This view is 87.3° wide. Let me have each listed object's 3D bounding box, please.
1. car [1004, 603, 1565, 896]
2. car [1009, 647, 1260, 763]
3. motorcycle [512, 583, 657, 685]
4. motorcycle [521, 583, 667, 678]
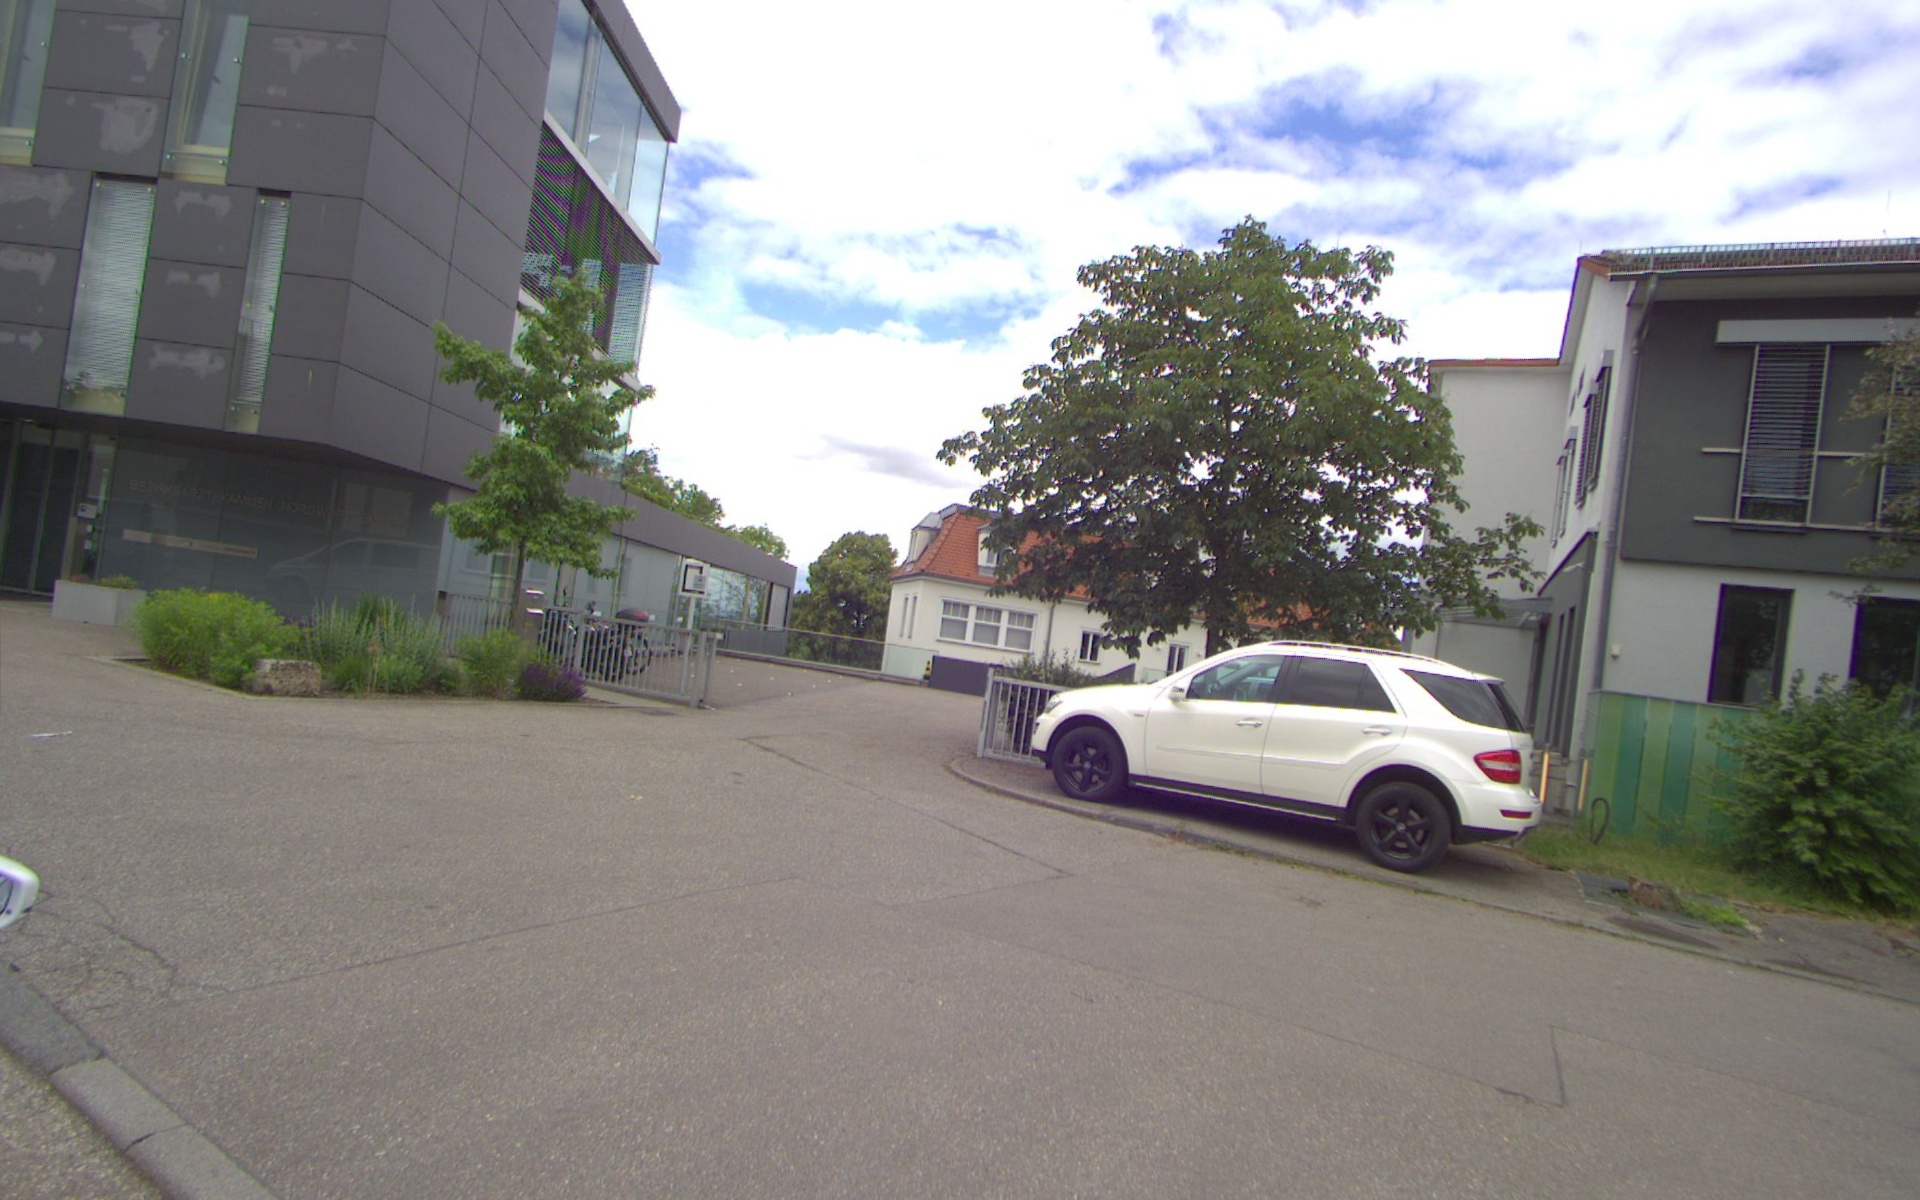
[{"bbox_3d":[2.983,1.233,9.648,4.643,1.778,1.856,7,-2,31],"label":"car"},{"bbox_3d":[3.176,1.867,18.429,4.142,1.501,1.621,5,-2,25],"label":"car"},{"bbox_3d":[-6.240,0.567,16.739,2.084,1.409,0.671,7,-1,13],"label":"motorcycle"},{"bbox_3d":[-6.775,0.563,18.651,2.416,1.409,0.671,7,-1,13],"label":"motorcycle"}]
